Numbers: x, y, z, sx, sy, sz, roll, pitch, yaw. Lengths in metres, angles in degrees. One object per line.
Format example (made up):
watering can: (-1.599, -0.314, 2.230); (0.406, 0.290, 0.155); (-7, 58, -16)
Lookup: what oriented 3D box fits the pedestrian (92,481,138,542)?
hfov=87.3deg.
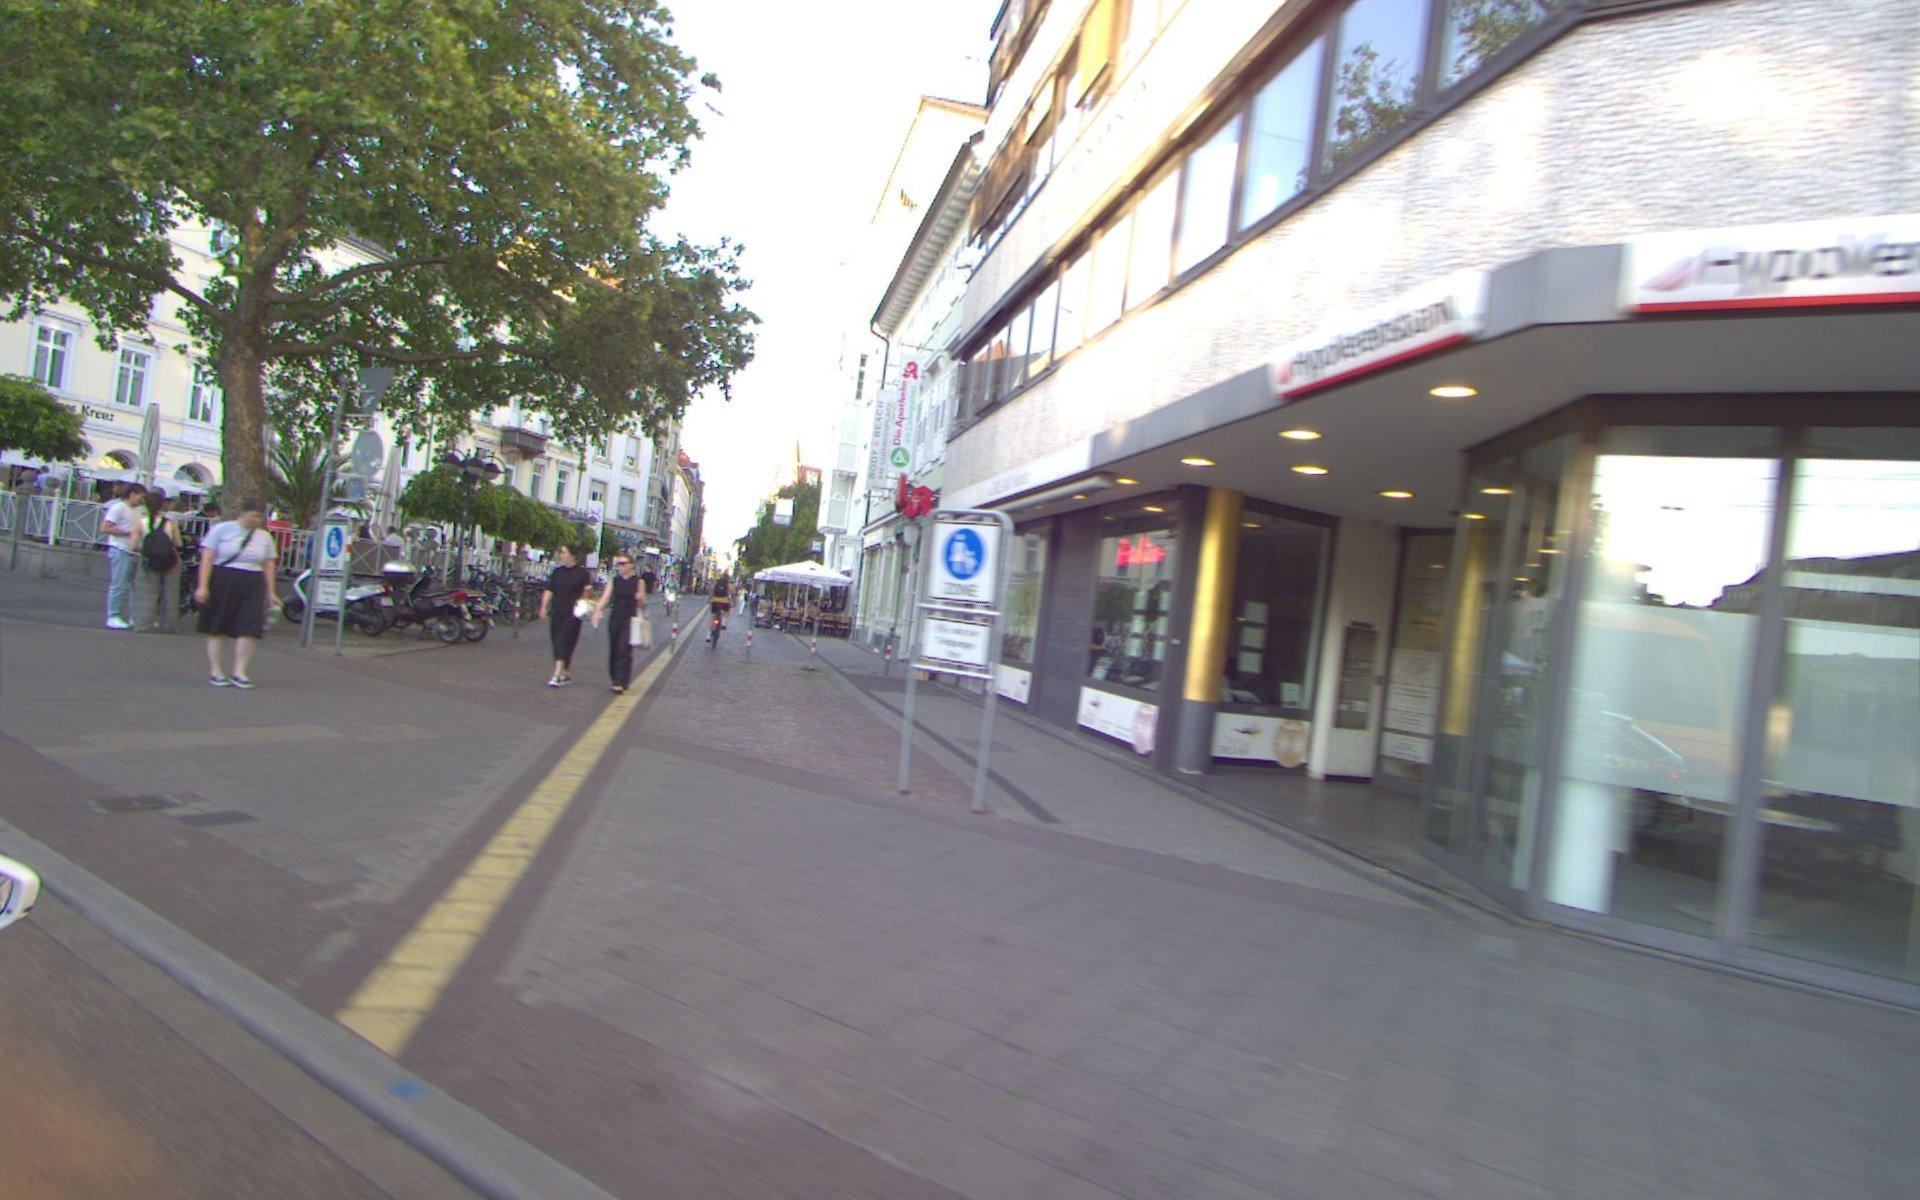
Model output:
pedestrian: (-24.772, -2.584, 29.501); (0.648, 1.663, 0.758); (5, -1, 32)

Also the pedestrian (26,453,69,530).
pedestrian: (-28.954, -3.426, 31.919); (0.569, 2.332, 0.615); (5, 0, 10)

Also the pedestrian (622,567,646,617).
pedestrian: (-10.966, -0.258, 33.848); (0.528, 1.631, 0.602); (5, 0, -11)

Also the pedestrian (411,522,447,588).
pedestrian: (-11.986, -1.010, 22.703); (0.472, 1.416, 0.534); (6, -1, -42)

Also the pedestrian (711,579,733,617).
pedestrian: (-12.282, -0.111, 51.887); (0.752, 1.854, 0.670); (5, -1, 41)

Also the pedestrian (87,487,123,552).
pedestrian: (-18.393, -1.725, 21.640); (0.472, 1.320, 0.533); (6, -1, -44)

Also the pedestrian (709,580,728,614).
pedestrian: (-12.781, -0.140, 53.147); (0.586, 1.721, 0.607); (5, -1, 41)

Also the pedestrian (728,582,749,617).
pedestrian: (-12.025, -0.037, 54.589); (0.743, 1.831, 0.756); (6, -1, -33)

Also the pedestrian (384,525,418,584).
pedestrian: (-12.845, -1.039, 23.119); (0.472, 1.300, 0.534); (6, -1, -42)

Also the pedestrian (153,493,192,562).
pedestrian: (-15.771, -1.441, 20.139); (0.472, 1.300, 0.533); (6, -1, -44)

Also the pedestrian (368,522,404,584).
pedestrian: (-12.678, -1.038, 22.216); (0.472, 1.300, 0.534); (6, -1, -42)

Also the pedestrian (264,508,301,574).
pedestrian: (-14.261, -1.237, 21.169); (0.472, 1.300, 0.534); (6, -1, -42)

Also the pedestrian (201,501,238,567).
pedestrian: (-15.348, -1.358, 20.854); (0.472, 1.300, 0.534); (6, -1, -42)

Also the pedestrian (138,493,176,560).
pedestrian: (-16.310, -1.488, 20.432); (0.472, 1.300, 0.533); (6, -1, -44)

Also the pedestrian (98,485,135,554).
pedestrian: (-17.871, -1.705, 21.320); (0.472, 1.380, 0.533); (6, -1, -44)

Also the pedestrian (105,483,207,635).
pedestrian: (-9.742, -0.488, 12.199); (0.644, 1.738, 0.679); (5, -1, 34)

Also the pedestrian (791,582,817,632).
pedestrian: (-5.886, 0.277, 37.962); (0.564, 1.808, 0.624); (5, -1, 23)

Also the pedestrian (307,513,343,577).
pedestrian: (-13.566, -1.162, 21.483); (0.472, 1.300, 0.534); (6, -1, -42)

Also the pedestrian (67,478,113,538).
pedestrian: (-25.792, -2.723, 29.821); (0.648, 1.663, 0.758); (5, -1, 32)

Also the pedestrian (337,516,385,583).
pedestrian: (-12.634, -1.061, 21.212); (0.642, 1.300, 0.732); (6, -1, -42)

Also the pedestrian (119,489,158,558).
pedestrian: (-16.871, -1.565, 20.658); (0.472, 1.346, 0.533); (6, -1, -44)

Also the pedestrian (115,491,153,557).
pedestrian: (-17.294, -1.587, 21.063); (0.472, 1.300, 0.533); (6, -1, -44)

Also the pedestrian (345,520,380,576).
pedestrian: (-14.735, -1.280, 24.815); (0.469, 1.300, 0.537); (5, -1, 41)

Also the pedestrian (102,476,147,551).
pedestrian: (-18.912, -1.947, 22.767); (0.617, 1.590, 0.623); (6, -1, -44)

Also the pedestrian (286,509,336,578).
pedestrian: (-13.084, -1.134, 20.281); (0.642, 1.300, 0.732); (6, -1, -42)

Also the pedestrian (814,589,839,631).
pedestrian: (-5.367, 0.420, 40.480); (0.750, 1.615, 0.617); (5, 0, 1)

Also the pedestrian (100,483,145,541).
pedestrian: (-25.469, -2.673, 30.608); (0.648, 1.663, 0.758); (5, -1, 30)

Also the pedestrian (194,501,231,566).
pedestrian: (-15.818, -1.393, 21.280); (0.472, 1.300, 0.533); (6, -1, -44)

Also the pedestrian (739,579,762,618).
pedestrian: (-11.240, -0.070, 54.061); (0.831, 1.992, 0.757); (6, -1, -31)

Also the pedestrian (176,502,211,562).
pedestrian: (-17.092, -1.516, 22.433); (0.472, 1.257, 0.533); (6, -1, -44)

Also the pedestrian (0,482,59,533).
pedestrian: (-26.291, -2.610, 28.395); (0.890, 1.282, 0.965); (5, -1, 31)
